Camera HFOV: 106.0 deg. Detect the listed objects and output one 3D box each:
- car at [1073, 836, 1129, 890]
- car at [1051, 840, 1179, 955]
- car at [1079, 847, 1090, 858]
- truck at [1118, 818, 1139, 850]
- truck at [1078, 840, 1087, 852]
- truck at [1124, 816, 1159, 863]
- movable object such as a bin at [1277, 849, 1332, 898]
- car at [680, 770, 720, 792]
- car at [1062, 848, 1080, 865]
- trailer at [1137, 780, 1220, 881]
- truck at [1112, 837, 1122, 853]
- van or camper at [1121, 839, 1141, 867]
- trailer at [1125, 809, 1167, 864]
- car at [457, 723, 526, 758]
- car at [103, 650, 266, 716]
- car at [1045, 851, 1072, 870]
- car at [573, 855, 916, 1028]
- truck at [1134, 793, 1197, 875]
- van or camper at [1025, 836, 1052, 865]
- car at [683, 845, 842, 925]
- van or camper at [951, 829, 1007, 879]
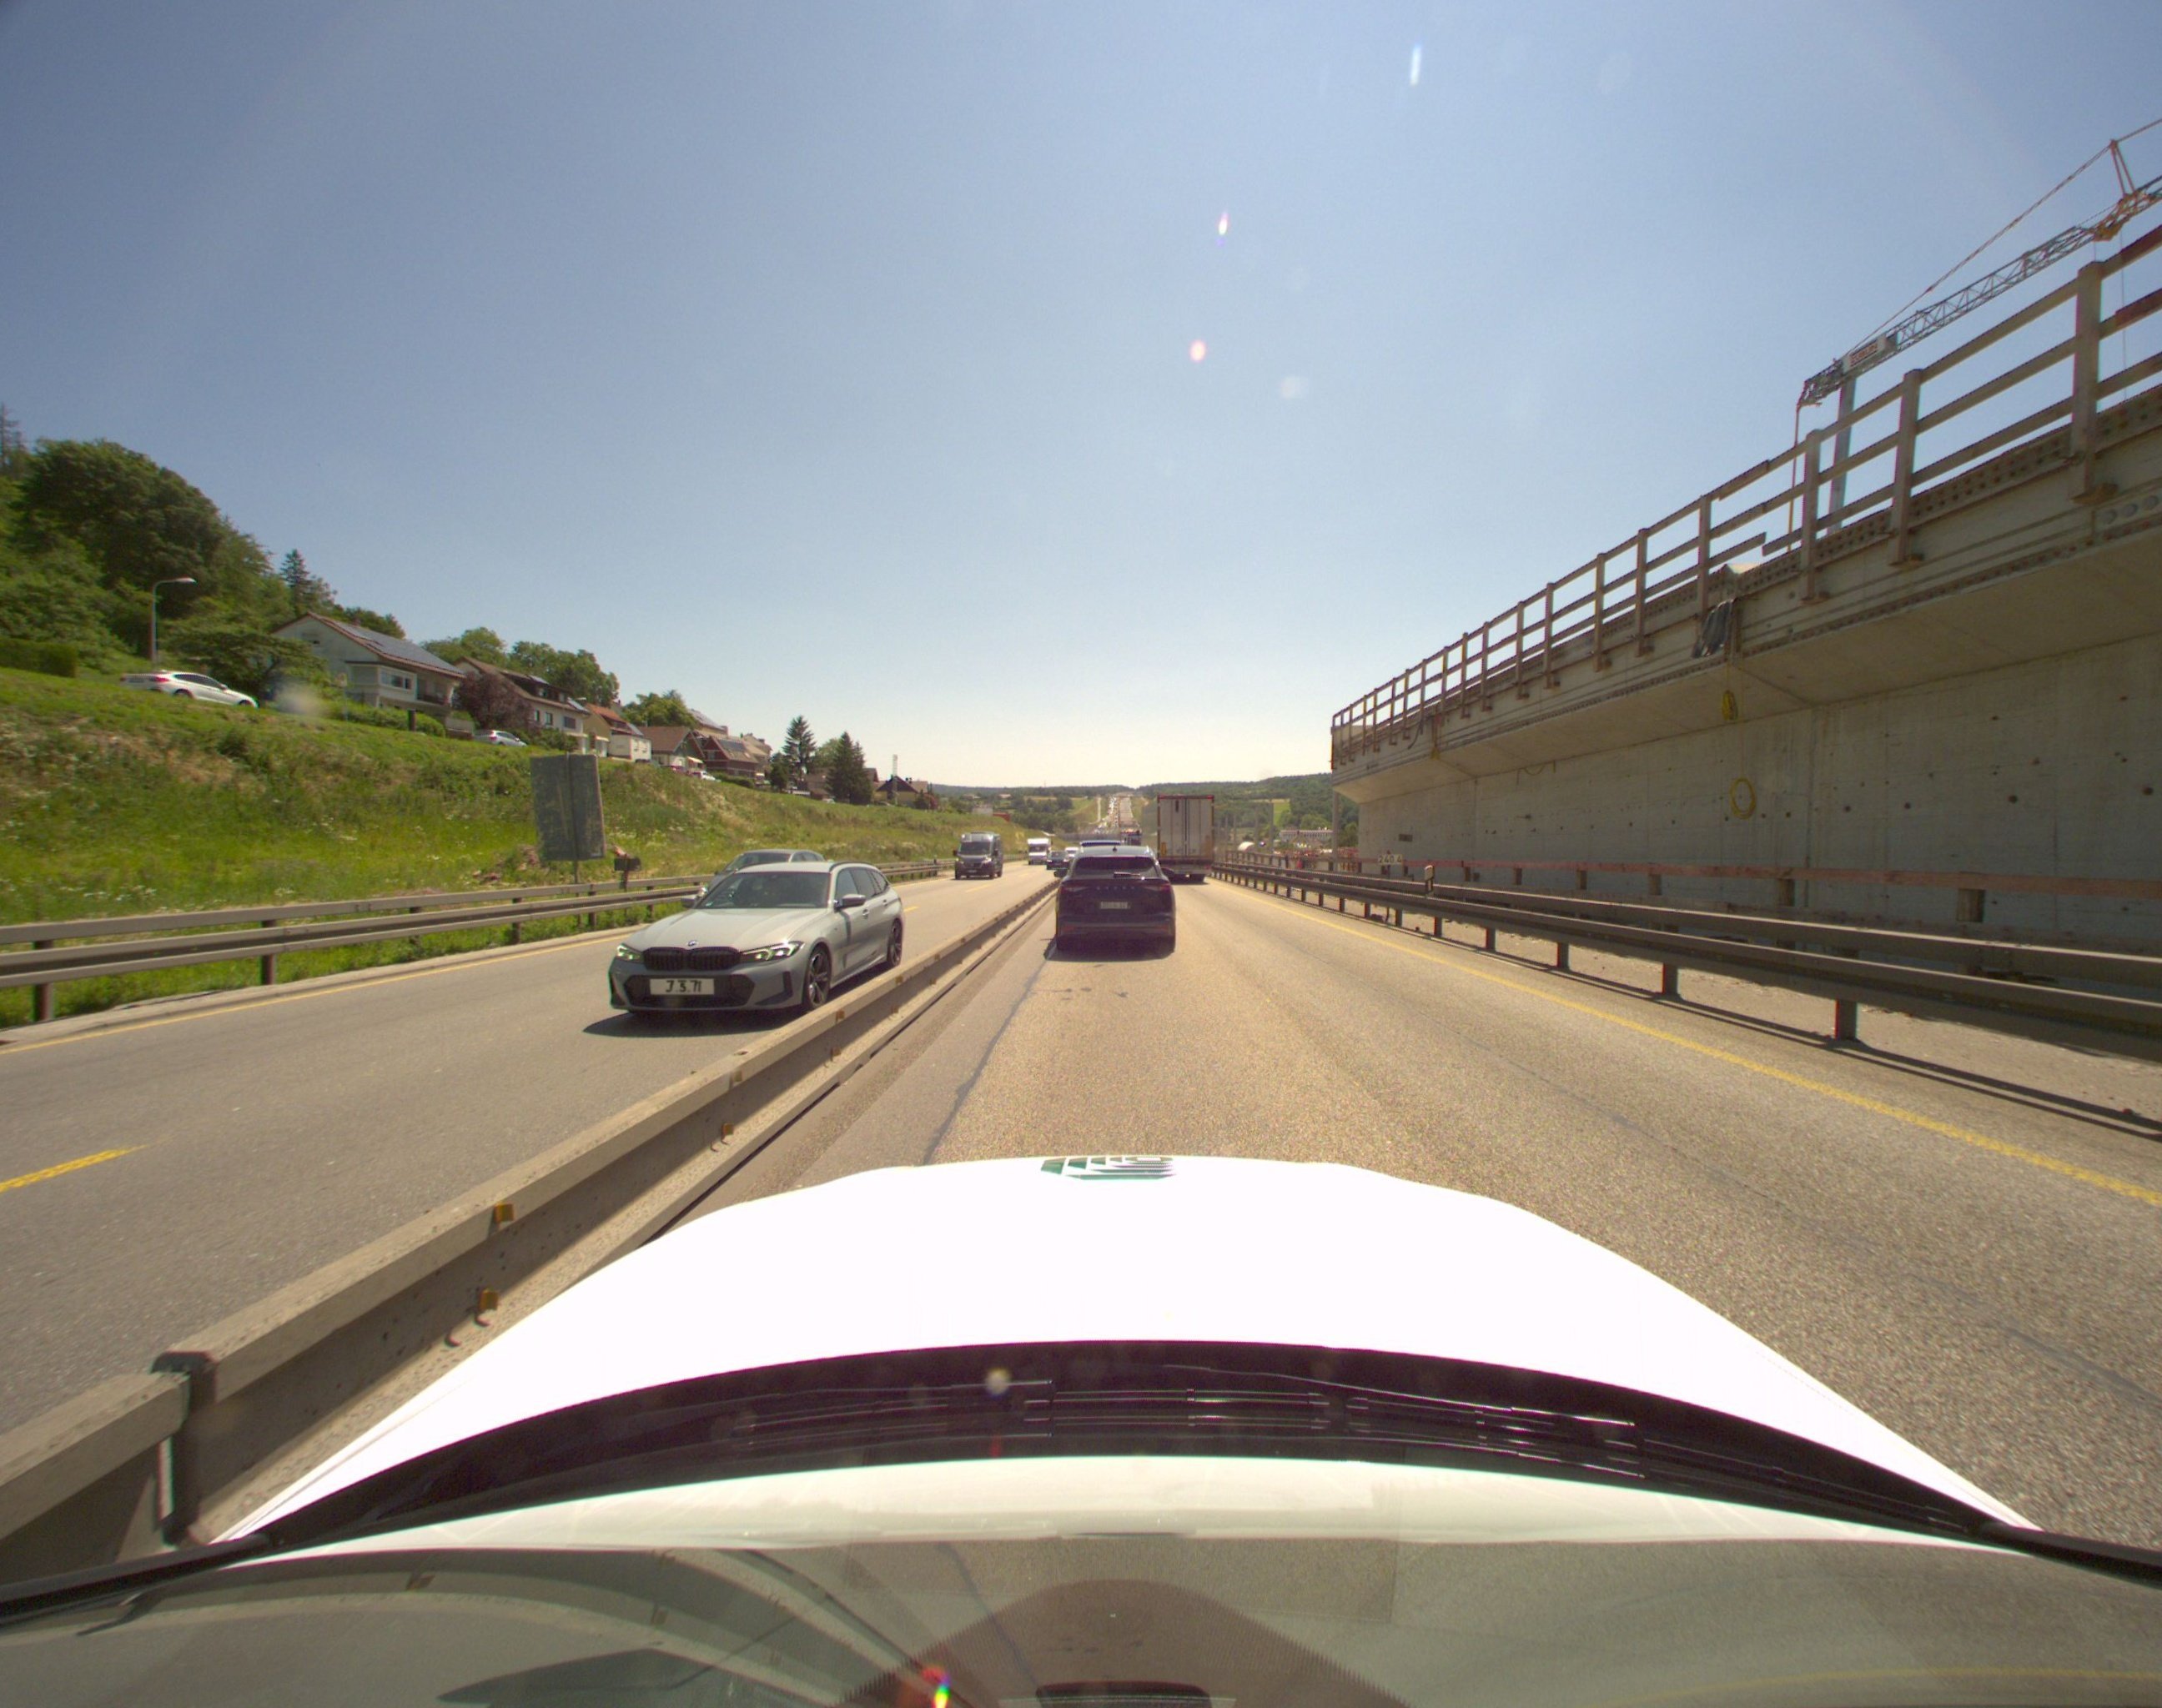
[{"bbox_3d":[0.770,0.350,31.203,1.986,1.926,4.509,0,-1,2],"label":"car"},{"bbox_3d":[0.569,0.628,13.491,1.795,1.607,4.002,-1,0,2],"label":"car"},{"bbox_3d":[0.537,-0.243,114.744,1.477,1.505,2.806,-1,0,2],"label":"car"},{"bbox_3d":[7.210,-2.898,125.504,2.842,4.465,11.920,0,-1,1],"label":"truck"},{"bbox_3d":[0.485,-2.333,249.746,2.769,3.672,6.279,0,0,1],"label":"truck"},{"bbox_3d":[6.025,-1.347,82.708,3.168,4.513,8.168,0,-1,2],"label":"truck"},{"bbox_3d":[22.820,1.987,83.879,3.215,4.743,9.658,0,-1,2],"label":"movable object such as a bin"},{"bbox_3d":[-43.157,-8.266,92.348,2.341,2.041,4.815,0,-1,-1],"label":"car"},{"bbox_3d":[-1.036,0.250,87.778,1.831,1.828,5.041,0,0,1],"label":"car"},{"bbox_3d":[4.828,-1.119,43.057,3.168,4.512,13.114,0,1,2],"label":"trailer"},{"bbox_3d":[9.903,-2.333,221.949,2.630,4.194,9.287,0,-1,2],"label":"truck"},{"bbox_3d":[6.121,-0.064,99.534,2.378,3.281,6.475,-1,-1,4],"label":"van or camper"},{"bbox_3d":[5.809,-1.393,75.558,3.168,4.513,14.972,0,-1,2],"label":"trailer"},{"bbox_3d":[-40.199,-7.732,55.679,1.990,1.794,3.993,0,-1,-5],"label":"car"},{"bbox_3d":[-39.873,-7.546,36.460,1.990,1.794,5.003,0,-1,-5],"label":"car"},{"bbox_3d":[-1.736,0.479,64.742,1.836,1.475,4.836,-1,0,2],"label":"car"},{"bbox_3d":[-3.344,0.753,9.262,1.822,1.433,4.631,-1,0,2],"label":"car"},{"bbox_3d":[4.991,-1.166,49.558,3.168,4.512,8.169,0,1,2],"label":"truck"},{"bbox_3d":[-4.544,-0.368,88.094,2.282,3.066,6.927,0,0,2],"label":"van or camper"},{"bbox_3d":[-6.981,0.609,18.364,1.766,1.582,4.287,0,0,2],"label":"car"},{"bbox_3d":[-5.605,-0.023,45.558,2.132,2.573,6.567,0,0,2],"label":"van or camper"}]
